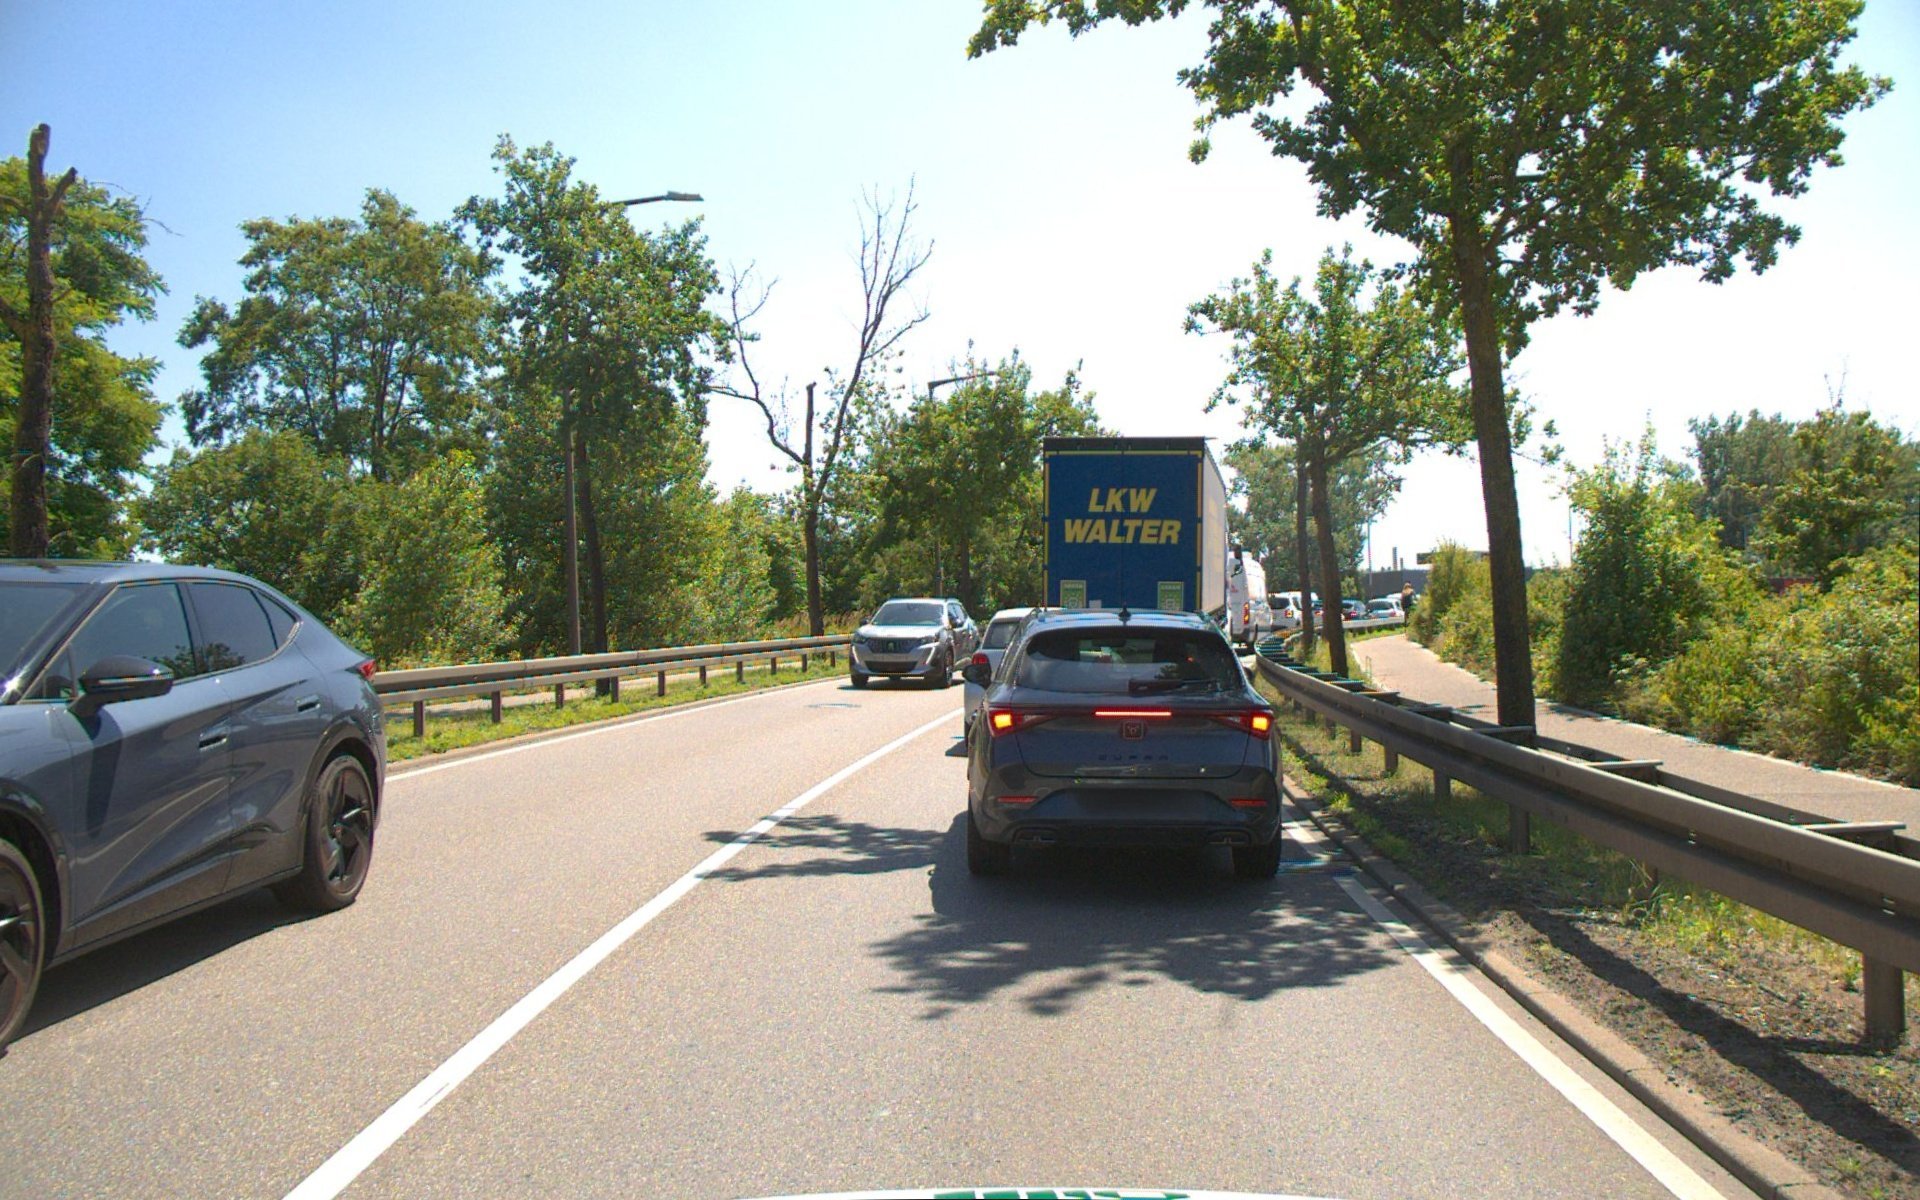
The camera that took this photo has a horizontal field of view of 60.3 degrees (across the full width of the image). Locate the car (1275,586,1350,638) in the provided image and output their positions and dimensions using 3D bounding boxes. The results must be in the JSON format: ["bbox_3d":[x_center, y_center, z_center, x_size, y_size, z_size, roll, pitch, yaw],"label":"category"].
[{"bbox_3d":[13.262,0.444,62.033,1.953,1.840,4.845,0,0,22],"label":"car"}]

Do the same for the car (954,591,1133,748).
[{"bbox_3d":[0.979,0.696,18.481,1.771,1.534,4.002,1,0,4],"label":"car"}]

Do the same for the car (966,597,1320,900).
[{"bbox_3d":[0.961,0.726,10.004,1.708,1.457,3.881,1,0,2],"label":"car"}]

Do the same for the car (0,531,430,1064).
[{"bbox_3d":[-3.781,0.599,6.436,1.830,1.631,4.394,1,0,3],"label":"car"}]

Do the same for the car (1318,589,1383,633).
[{"bbox_3d":[16.304,0.446,68.860,1.953,1.747,4.868,0,0,22],"label":"car"}]

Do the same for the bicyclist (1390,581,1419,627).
[{"bbox_3d":[15.102,0.140,56.224,0.843,1.550,0.980,0,0,22],"label":"bicyclist"}]

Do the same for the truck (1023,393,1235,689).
[{"bbox_3d":[3.965,-0.885,33.784,2.887,4.527,16.812,1,0,11],"label":"truck"}]

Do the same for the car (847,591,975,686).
[{"bbox_3d":[-0.812,0.655,30.038,1.712,1.583,4.130,1,0,7],"label":"car"}]

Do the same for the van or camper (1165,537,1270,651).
[{"bbox_3d":[7.509,-0.156,47.681,2.414,3.051,6.091,0,0,14],"label":"van or camper"}]

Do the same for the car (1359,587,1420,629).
[{"bbox_3d":[19.474,0.367,74.930,1.953,1.799,4.752,0,0,24],"label":"car"}]

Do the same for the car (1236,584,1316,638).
[{"bbox_3d":[10.684,0.370,55.673,1.952,1.742,4.621,0,0,20],"label":"car"}]

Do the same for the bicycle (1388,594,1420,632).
[{"bbox_3d":[15.119,0.432,56.269,0.842,1.258,2.310,0,0,20],"label":"bicycle"}]
